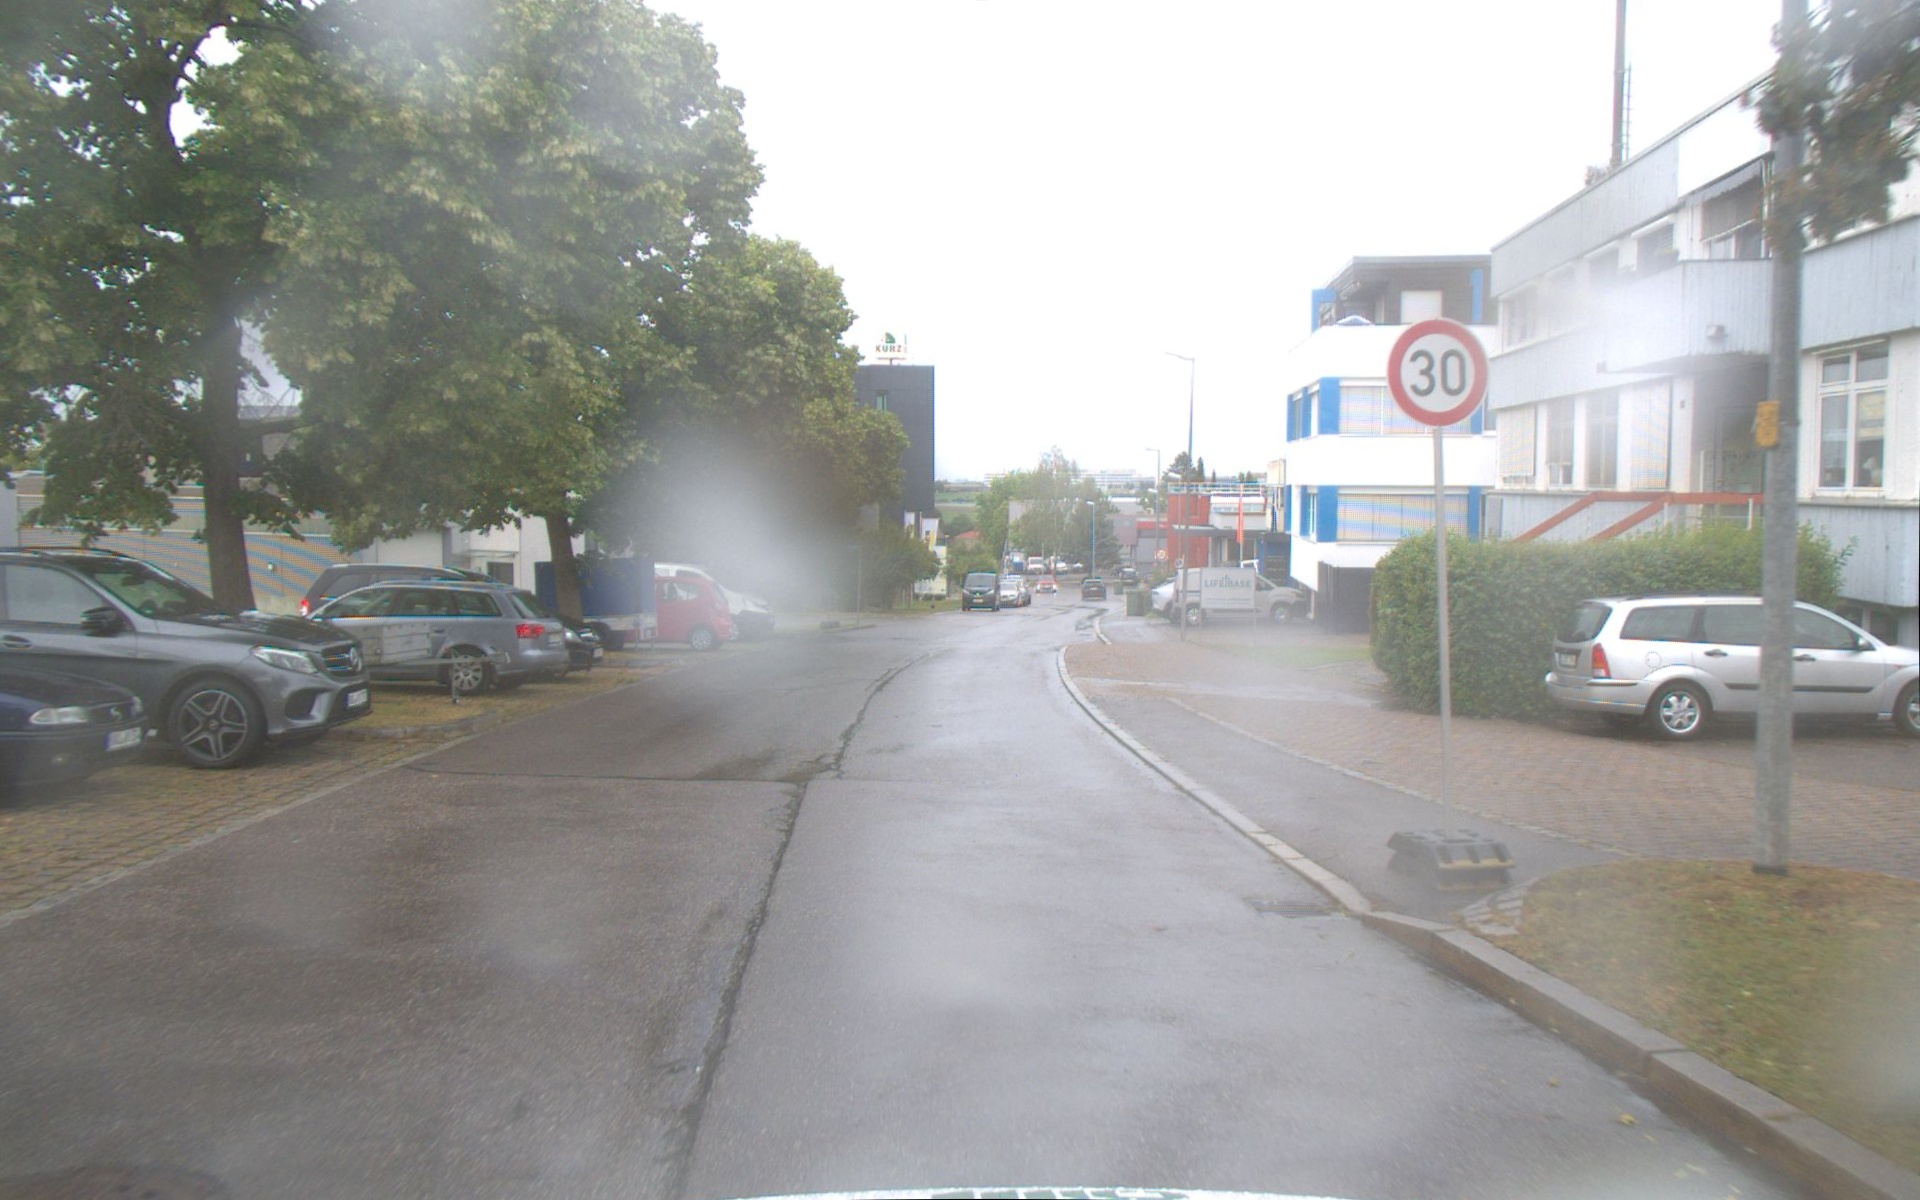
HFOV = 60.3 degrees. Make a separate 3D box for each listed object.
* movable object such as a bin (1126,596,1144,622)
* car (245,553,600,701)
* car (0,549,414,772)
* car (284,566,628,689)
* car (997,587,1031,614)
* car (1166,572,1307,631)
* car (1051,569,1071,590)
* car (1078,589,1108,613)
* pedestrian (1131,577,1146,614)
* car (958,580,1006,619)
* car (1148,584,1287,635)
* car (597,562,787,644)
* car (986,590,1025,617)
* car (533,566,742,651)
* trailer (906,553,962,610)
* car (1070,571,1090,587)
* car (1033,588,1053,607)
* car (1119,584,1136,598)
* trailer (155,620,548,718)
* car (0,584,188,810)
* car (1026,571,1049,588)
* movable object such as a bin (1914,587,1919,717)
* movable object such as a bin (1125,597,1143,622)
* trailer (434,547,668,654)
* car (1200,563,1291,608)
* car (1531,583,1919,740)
[{"bbox_3d":[7.492,0.397,70.733,0.727,1.085,0.637,0,0,7],"label":"movable object such as a bin"},{"bbox_3d":[-7.112,0.340,22.166,3.988,1.752,2.027,2,0,4],"label":"car"},{"bbox_3d":[-7.141,0.483,14.124,4.278,1.752,2.044,0,0,-1],"label":"car"},{"bbox_3d":[-7.451,0.391,24.718,4.521,1.617,1.807,2,0,3],"label":"car"},{"bbox_3d":[3.377,0.054,103.404,1.916,1.604,4.842,-1,0,4],"label":"car"},{"bbox_3d":[8.775,0.042,52.854,4.249,1.804,2.090,-1,0,4],"label":"car"},{"bbox_3d":[12.759,-2.565,209.124,2.149,2.502,3.998,0,0,-3],"label":"car"},{"bbox_3d":[9.448,0.078,117.663,1.915,1.705,4.473,0,-1,2],"label":"car"},{"bbox_3d":[8.894,-0.213,82.207,0.721,1.798,0.809,0,0,7],"label":"pedestrian"},{"bbox_3d":[1.113,-0.034,82.489,1.875,1.863,4.851,0,0,7],"label":"car"},{"bbox_3d":[8.670,0.306,55.968,4.499,1.565,2.081,-2,0,5],"label":"car"},{"bbox_3d":[-6.512,0.082,40.380,4.208,1.939,1.863,0,0,8],"label":"car"},{"bbox_3d":[2.693,0.181,97.058,1.914,1.486,5.251,0,0,6],"label":"car"},{"bbox_3d":[-6.837,0.185,35.331,4.110,1.752,1.755,0,0,0],"label":"car"},{"bbox_3d":[-1.993,-1.364,125.888,4.115,4.276,1.992,-1,0,44],"label":"trailer"},{"bbox_3d":[15.210,-2.638,209.905,2.102,2.049,3.938,0,0,-1],"label":"car"},{"bbox_3d":[7.465,-0.214,148.525,1.711,1.535,3.936,-2,-1,3],"label":"car"},{"bbox_3d":[17.545,-0.947,173.475,1.661,1.501,4.002,0,0,5],"label":"car"},{"bbox_3d":[-7.059,0.782,19.489,3.860,0.978,2.000,1,1,1],"label":"trailer"},{"bbox_3d":[-7.832,0.609,11.431,4.130,1.456,1.772,1,0,-5],"label":"car"},{"bbox_3d":[9.785,-2.620,208.969,2.223,2.049,3.991,0,0,-10],"label":"car"},{"bbox_3d":[12.295,0.588,18.549,2.218,1.529,1.734,-2,0,5],"label":"movable object such as a bin"},{"bbox_3d":[7.368,0.393,70.006,0.755,1.048,0.809,0,0,7],"label":"movable object such as a bin"},{"bbox_3d":[-7.984,0.013,32.526,4.124,2.019,1.775,0,0,3],"label":"trailer"},{"bbox_3d":[17.620,-0.866,102.304,5.190,2.047,2.223,-8,-1,5],"label":"car"},{"bbox_3d":[8.630,0.635,17.981,4.222,1.612,1.859,0,0,2],"label":"car"}]
